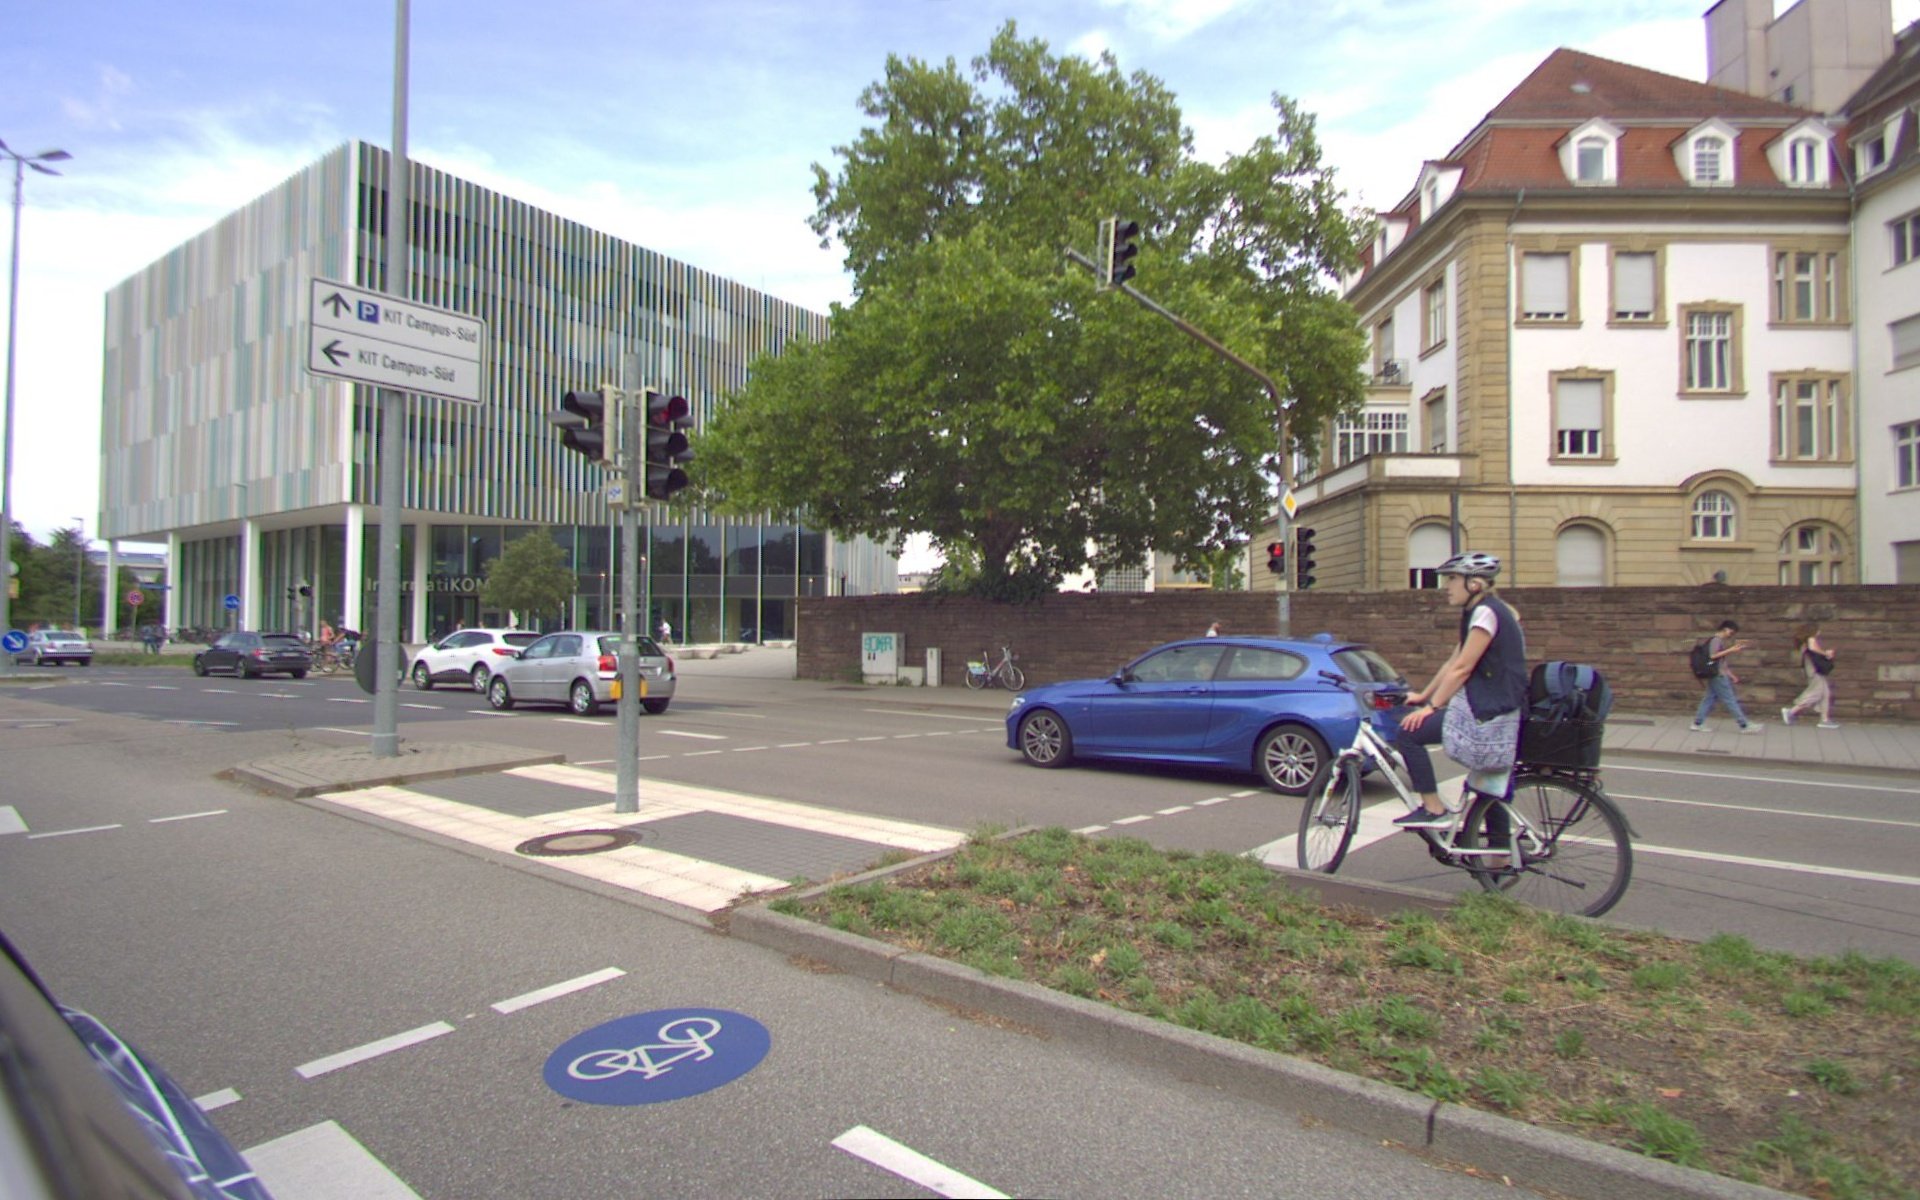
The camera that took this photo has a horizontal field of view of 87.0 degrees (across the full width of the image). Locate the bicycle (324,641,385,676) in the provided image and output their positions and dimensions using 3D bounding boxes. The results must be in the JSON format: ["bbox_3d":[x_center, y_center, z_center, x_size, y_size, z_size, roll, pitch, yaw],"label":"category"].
[{"bbox_3d":[-21.542,2.062,36.069,0.603,1.179,1.882,-1,-2,21],"label":"bicycle"}]

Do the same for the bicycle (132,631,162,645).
[{"bbox_3d":[-61.081,2.861,76.046,0.433,1.031,1.686,-1,0,31],"label":"bicycle"}]

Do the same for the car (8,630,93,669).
[{"bbox_3d":[-37.096,1.971,41.241,4.538,1.500,1.745,-1,-2,37],"label":"car"}]

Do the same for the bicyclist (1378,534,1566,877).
[{"bbox_3d":[2.595,0.497,5.140,0.699,1.586,0.566,-2,-3,44],"label":"bicyclist"}]

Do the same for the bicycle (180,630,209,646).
[{"bbox_3d":[-52.891,2.630,69.926,0.388,1.031,1.565,-1,0,31],"label":"bicycle"}]

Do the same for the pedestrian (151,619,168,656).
[{"bbox_3d":[-40.640,1.923,51.370,0.623,1.851,0.506,-2,-3,36],"label":"pedestrian"}]

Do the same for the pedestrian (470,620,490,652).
[{"bbox_3d":[-24.633,1.841,51.937,0.670,1.612,0.729,0,-2,6],"label":"pedestrian"}]

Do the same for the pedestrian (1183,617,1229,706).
[{"bbox_3d":[5.061,1.251,20.883,0.774,1.796,0.746,1,-1,5],"label":"pedestrian"}]

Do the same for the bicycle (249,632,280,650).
[{"bbox_3d":[-42.633,2.516,62.083,0.398,1.002,1.529,-1,0,32],"label":"bicycle"}]

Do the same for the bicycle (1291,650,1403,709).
[{"bbox_3d":[7.644,1.547,20.038,1.975,1.066,0.544,-1,1,33],"label":"bicycle"}]

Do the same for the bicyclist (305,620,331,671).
[{"bbox_3d":[-23.228,1.626,36.627,0.558,1.820,0.597,-1,0,23],"label":"bicyclist"}]

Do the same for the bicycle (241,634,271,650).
[{"bbox_3d":[-43.833,2.608,63.008,0.388,0.944,1.530,-1,0,31],"label":"bicycle"}]

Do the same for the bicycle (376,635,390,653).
[{"bbox_3d":[-31.965,2.449,56.057,0.387,0.944,1.603,-1,0,-20],"label":"bicycle"}]

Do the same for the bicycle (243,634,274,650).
[{"bbox_3d":[-43.332,2.604,62.547,0.392,0.944,1.530,-1,0,31],"label":"bicycle"}]

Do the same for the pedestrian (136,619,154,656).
[{"bbox_3d":[-40.886,1.890,50.780,0.771,1.851,0.506,-2,-3,36],"label":"pedestrian"}]

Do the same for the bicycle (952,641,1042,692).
[{"bbox_3d":[0.866,1.565,24.072,2.160,1.134,0.572,-1,1,35],"label":"bicycle"}]

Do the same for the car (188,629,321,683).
[{"bbox_3d":[-22.581,1.741,32.363,4.731,1.628,1.881,-1,-2,34],"label":"car"}]

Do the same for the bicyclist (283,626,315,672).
[{"bbox_3d":[-24.624,1.812,37.697,0.719,1.685,0.723,-1,0,23],"label":"bicyclist"}]

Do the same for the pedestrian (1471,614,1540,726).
[{"bbox_3d":[9.097,1.143,16.902,0.774,1.796,0.745,1,-1,7],"label":"pedestrian"}]

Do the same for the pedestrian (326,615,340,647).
[{"bbox_3d":[-40.164,1.970,64.830,0.623,2.059,0.506,-2,-3,35],"label":"pedestrian"}]

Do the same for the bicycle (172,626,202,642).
[{"bbox_3d":[-54.057,2.378,70.807,0.388,1.031,1.565,0,-4,31],"label":"bicycle"}]

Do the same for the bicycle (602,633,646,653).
[{"bbox_3d":[-18.374,2.340,55.434,0.791,1.098,2.664,-1,-2,21],"label":"bicycle"}]

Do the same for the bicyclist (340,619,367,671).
[{"bbox_3d":[-21.594,1.597,36.031,0.558,1.820,0.597,-1,0,23],"label":"bicyclist"}]

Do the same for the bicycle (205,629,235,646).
[{"bbox_3d":[-49.320,2.484,67.478,0.388,1.031,1.565,-1,0,31],"label":"bicycle"}]

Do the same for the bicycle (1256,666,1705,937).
[{"bbox_3d":[2.519,0.898,5.104,1.926,1.063,0.567,-2,-3,44],"label":"bicycle"}]

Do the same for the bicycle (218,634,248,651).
[{"bbox_3d":[-47.521,2.780,66.154,0.388,1.031,1.565,-1,0,31],"label":"bicycle"}]

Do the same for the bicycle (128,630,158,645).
[{"bbox_3d":[-61.775,2.848,76.537,0.433,1.031,1.686,-1,0,31],"label":"bicycle"}]

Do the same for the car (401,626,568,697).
[{"bbox_3d":[-12.188,1.507,25.882,4.410,1.665,1.849,-1,-2,34],"label":"car"}]

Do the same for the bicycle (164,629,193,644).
[{"bbox_3d":[-54.945,2.558,71.194,0.388,1.031,1.565,-1,0,31],"label":"bicycle"}]

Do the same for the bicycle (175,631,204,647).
[{"bbox_3d":[-53.587,2.734,70.423,0.388,1.031,1.565,-1,0,31],"label":"bicycle"}]

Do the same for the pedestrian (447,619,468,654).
[{"bbox_3d":[-25.728,1.860,51.837,0.669,1.753,0.730,0,-2,3],"label":"pedestrian"}]

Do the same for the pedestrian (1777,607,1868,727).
[{"bbox_3d":[13.420,1.016,15.762,0.775,1.796,0.759,1,-1,8],"label":"pedestrian"}]

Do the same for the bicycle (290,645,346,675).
[{"bbox_3d":[-23.221,2.154,36.630,0.568,0.996,1.679,-1,0,22],"label":"bicycle"}]

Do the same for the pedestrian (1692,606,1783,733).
[{"bbox_3d":[11.445,0.997,14.913,0.775,1.796,0.759,1,-1,10],"label":"pedestrian"}]

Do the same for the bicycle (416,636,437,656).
[{"bbox_3d":[-29.382,2.519,55.735,0.388,1.037,1.546,-1,0,-1],"label":"bicycle"}]

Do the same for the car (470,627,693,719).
[{"bbox_3d":[-6.961,1.241,18.447,4.281,1.500,1.785,-1,-2,37],"label":"car"}]

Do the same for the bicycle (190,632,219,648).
[{"bbox_3d":[-51.353,2.711,68.806,0.388,1.031,1.565,-1,0,31],"label":"bicycle"}]

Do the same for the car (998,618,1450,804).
[{"bbox_3d":[2.558,0.980,10.295,4.099,1.523,1.784,-1,-4,39],"label":"car"}]

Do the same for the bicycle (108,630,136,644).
[{"bbox_3d":[-66.464,2.943,80.254,0.433,1.031,1.686,-1,0,31],"label":"bicycle"}]

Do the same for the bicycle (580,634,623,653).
[{"bbox_3d":[-19.656,2.388,55.562,0.668,1.007,2.664,-1,-2,21],"label":"bicycle"}]

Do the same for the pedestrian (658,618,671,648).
[{"bbox_3d":[-17.873,1.980,61.246,0.626,1.792,0.597,0,-2,-8],"label":"pedestrian"}]

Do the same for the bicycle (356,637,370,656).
[{"bbox_3d":[-32.968,2.564,55.886,0.387,0.944,1.603,-1,0,-20],"label":"bicycle"}]
